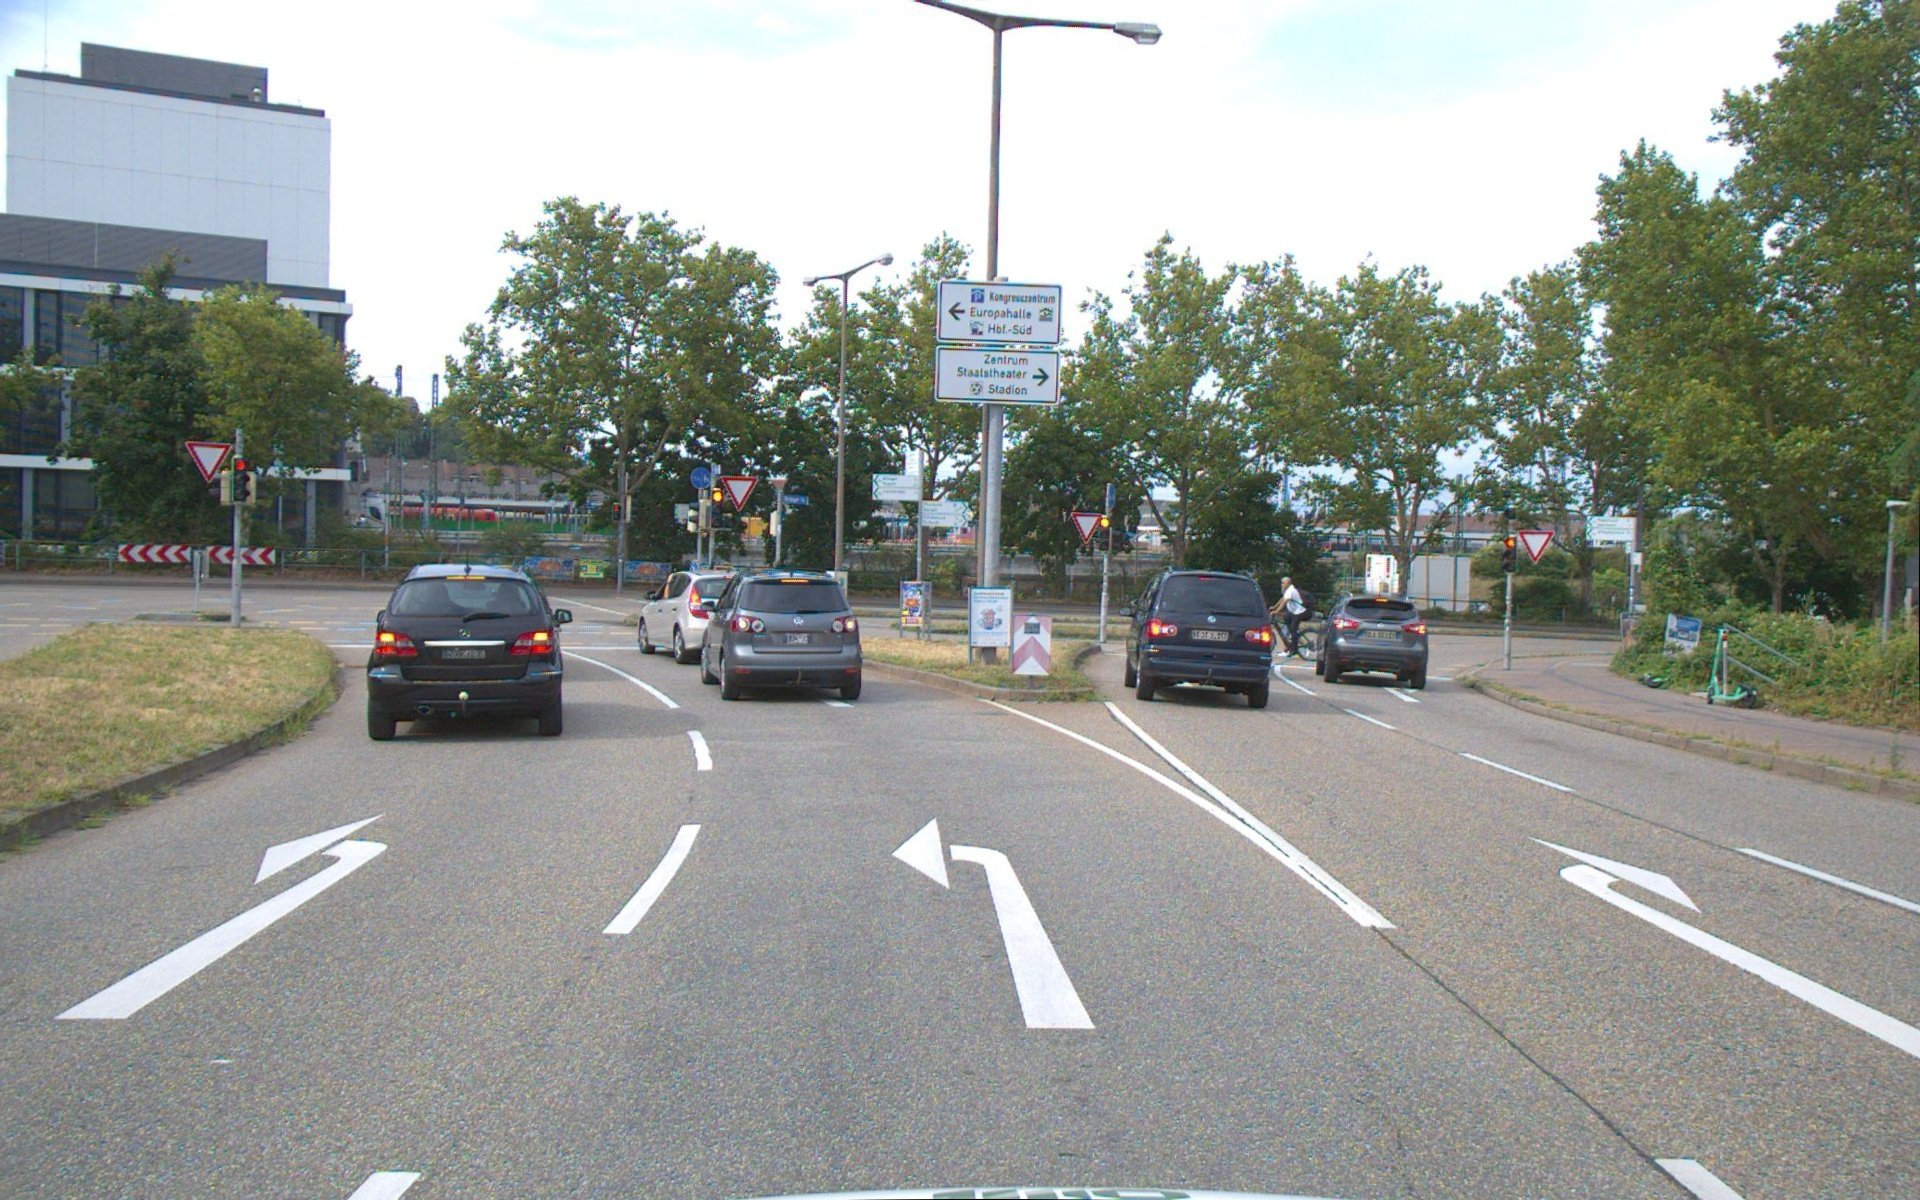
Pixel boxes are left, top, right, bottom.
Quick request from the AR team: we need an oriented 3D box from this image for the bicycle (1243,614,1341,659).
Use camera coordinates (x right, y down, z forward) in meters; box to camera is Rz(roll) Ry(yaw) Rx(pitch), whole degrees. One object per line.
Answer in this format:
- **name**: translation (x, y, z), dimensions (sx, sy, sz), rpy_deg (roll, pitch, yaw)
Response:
- **bicycle**: translation (7.653, 0.832, 38.208), dimensions (2.180, 0.969, 0.812), rpy_deg (1, 1, 8)

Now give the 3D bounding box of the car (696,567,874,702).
- **car**: translation (-2.374, 0.378, 21.558), dimensions (1.712, 1.573, 4.066), rpy_deg (1, 1, -15)

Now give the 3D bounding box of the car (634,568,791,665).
- **car**: translation (-4.263, 0.234, 28.024), dimensions (1.717, 1.508, 4.054), rpy_deg (1, 1, -22)

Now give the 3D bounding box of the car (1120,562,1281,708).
- **car**: translation (3.237, 0.428, 22.936), dimensions (1.714, 1.754, 4.139), rpy_deg (3, 0, 2)

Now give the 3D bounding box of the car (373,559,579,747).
- **car**: translation (-4.816, 0.440, 16.742), dimensions (1.728, 1.602, 4.022), rpy_deg (1, 2, -15)

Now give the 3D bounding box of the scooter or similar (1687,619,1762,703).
- **scooter or similar**: translation (11.489, 0.904, 24.888), dimensions (0.389, 1.204, 1.278), rpy_deg (1, 0, -7)

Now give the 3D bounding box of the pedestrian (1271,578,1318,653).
- **pedestrian**: translation (7.971, 0.361, 39.434), dimensions (1.025, 1.740, 0.854), rpy_deg (2, 1, 10)

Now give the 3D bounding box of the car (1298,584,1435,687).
- **car**: translation (7.425, 0.599, 30.548), dimensions (1.714, 1.671, 4.140), rpy_deg (3, 0, 4)

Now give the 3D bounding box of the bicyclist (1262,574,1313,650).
- **bicyclist**: translation (7.558, 0.261, 38.212), dimensions (1.088, 1.726, 0.814), rpy_deg (1, 1, 8)

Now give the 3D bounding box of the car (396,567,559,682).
- **car**: translation (-7.096, 0.294, 24.015), dimensions (1.793, 1.438, 4.745), rpy_deg (1, 1, -22)
